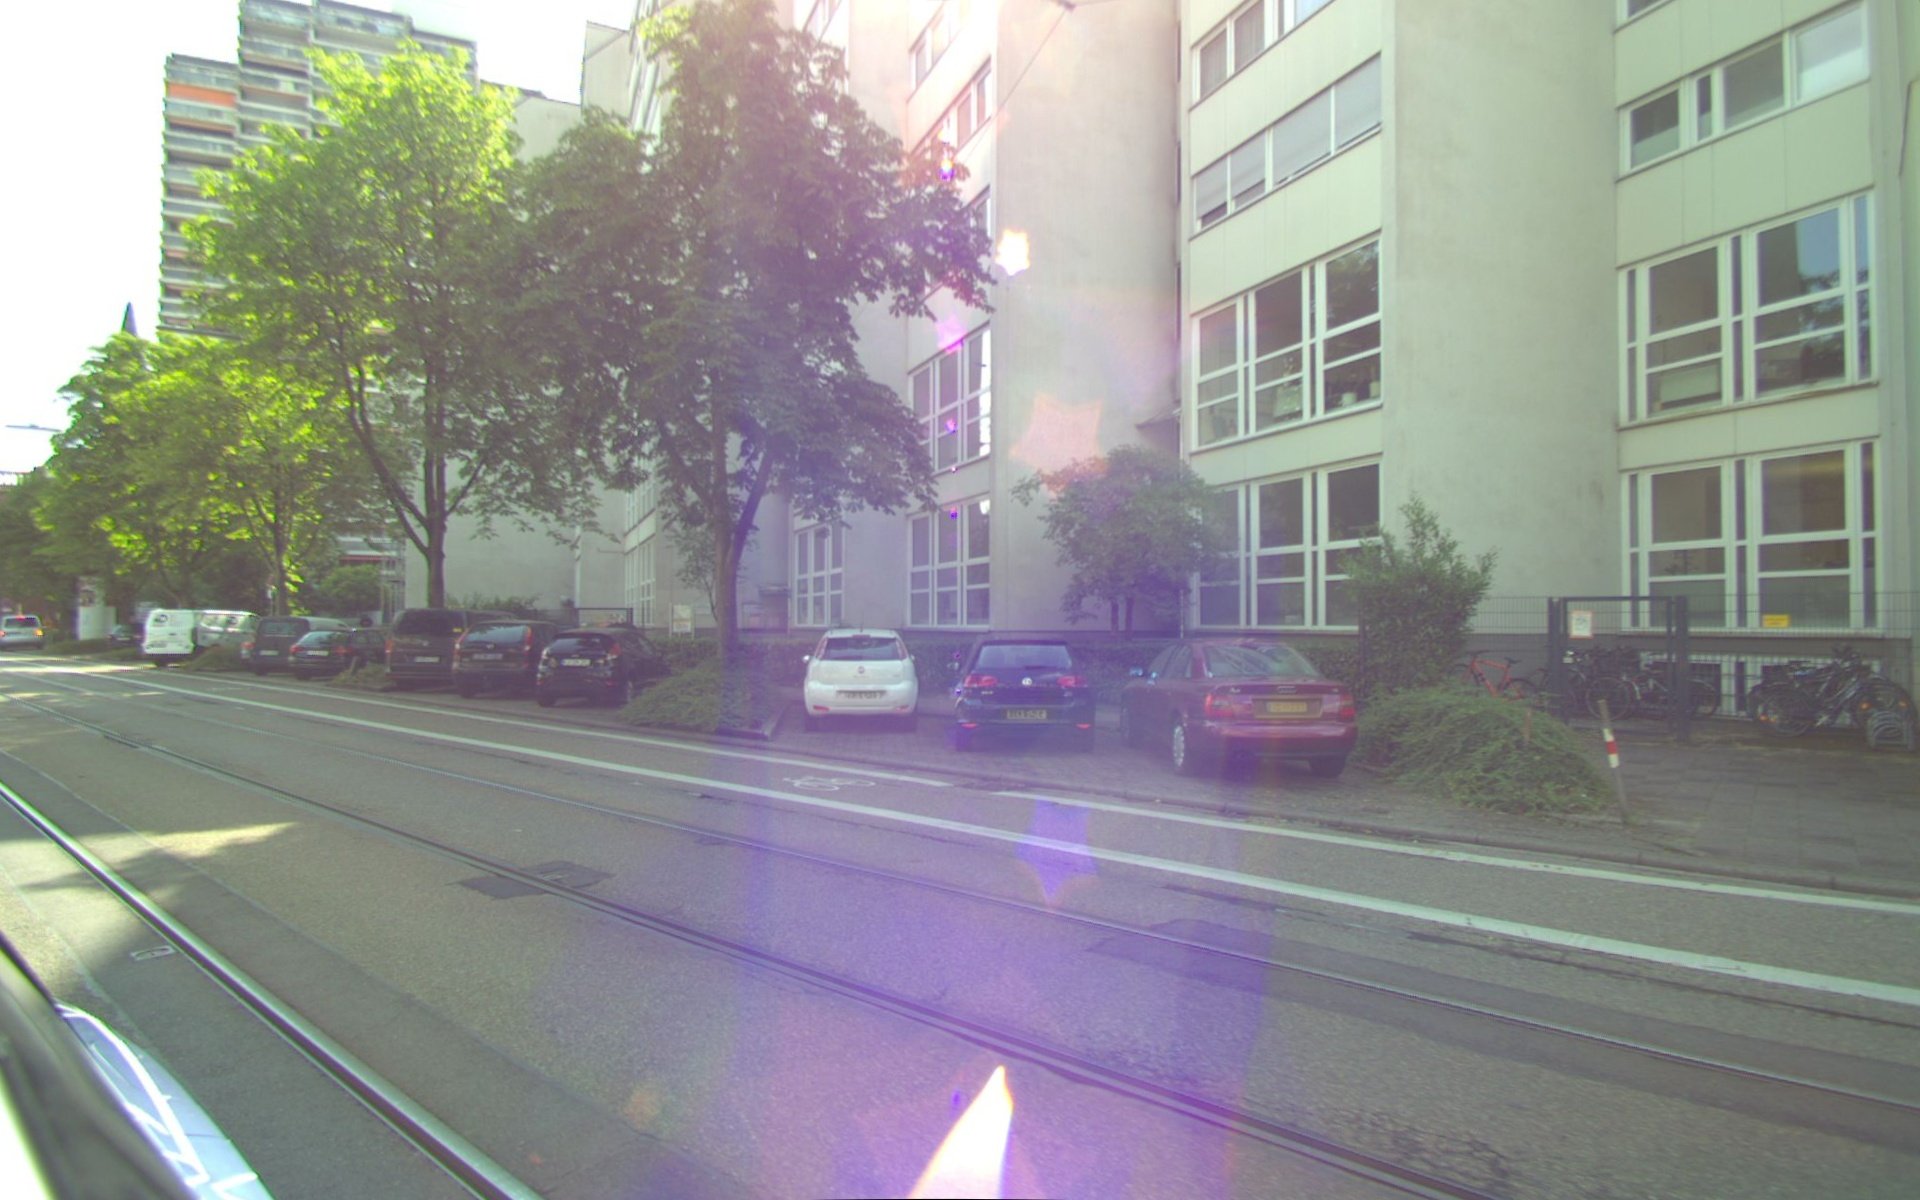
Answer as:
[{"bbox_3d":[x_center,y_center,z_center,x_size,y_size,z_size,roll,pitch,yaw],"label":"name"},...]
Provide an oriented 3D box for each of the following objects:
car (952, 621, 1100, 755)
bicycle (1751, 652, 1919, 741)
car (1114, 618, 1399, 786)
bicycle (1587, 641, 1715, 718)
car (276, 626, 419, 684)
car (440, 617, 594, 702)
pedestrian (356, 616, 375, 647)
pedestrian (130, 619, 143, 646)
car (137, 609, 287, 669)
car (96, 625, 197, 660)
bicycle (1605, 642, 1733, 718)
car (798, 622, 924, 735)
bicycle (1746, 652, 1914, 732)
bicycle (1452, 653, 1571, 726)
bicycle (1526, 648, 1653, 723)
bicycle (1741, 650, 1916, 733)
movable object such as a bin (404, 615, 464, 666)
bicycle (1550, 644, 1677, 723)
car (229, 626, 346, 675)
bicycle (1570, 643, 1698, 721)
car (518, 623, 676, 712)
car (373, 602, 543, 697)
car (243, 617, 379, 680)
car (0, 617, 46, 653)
[{"bbox_3d":[0.772,1.118,13.515,1.674,1.495,3.806,1,-3,1],"label":"car"},{"bbox_3d":[11.537,1.237,13.264,1.807,1.072,0.379,-2,-1,39],"label":"bicycle"},{"bbox_3d":[3.034,1.048,11.274,1.819,1.495,3.972,2,-3,-3],"label":"car"},{"bbox_3d":[11.424,1.282,16.806,0.377,1.154,1.816,-1,-1,-23],"label":"bicycle"},{"bbox_3d":[-16.640,1.506,27.734,1.733,1.428,4.005,2,-3,-6],"label":"car"},{"bbox_3d":[-9.326,1.275,21.665,1.715,1.605,4.003,2,-3,-4],"label":"car"},{"bbox_3d":[-31.529,1.670,53.696,0.660,1.636,0.635,0,-1,32],"label":"pedestrian"},{"bbox_3d":[-54.483,2.137,66.980,0.516,1.767,0.637,0,2,-26],"label":"pedestrian"},{"bbox_3d":[-26.596,1.365,36.219,1.940,2.012,4.687,0,-2,-2],"label":"car"},{"bbox_3d":[-36.600,1.886,45.672,1.715,1.535,3.890,0,-1,-6],"label":"car"},{"bbox_3d":[11.836,1.309,16.969,0.377,1.154,1.816,-1,-1,-23],"label":"bicycle"},{"bbox_3d":[-1.532,1.182,15.766,1.672,1.495,3.811,2,-3,-5],"label":"car"},{"bbox_3d":[12.589,1.308,14.706,1.807,1.072,0.379,-2,-1,39],"label":"bicycle"},{"bbox_3d":[8.422,1.348,15.536,0.377,0.986,1.722,-1,-1,-23],"label":"bicycle"},{"bbox_3d":[10.059,1.343,16.250,0.377,1.072,1.816,-1,-1,-23],"label":"bicycle"},{"bbox_3d":[12.065,1.249,14.130,1.807,1.072,0.379,-2,-1,39],"label":"bicycle"},{"bbox_3d":[-19.671,1.510,37.841,1.536,1.795,1.374,-1,-5,36],"label":"movable object such as a bin"},{"bbox_3d":[10.603,1.318,16.483,0.377,1.154,1.816,-1,-1,-23],"label":"bicycle"},{"bbox_3d":[-21.598,1.642,32.701,1.694,1.428,4.009,2,-3,-11],"label":"car"},{"bbox_3d":[11.020,1.311,16.623,0.377,1.154,1.816,-1,-1,-23],"label":"bicycle"},{"bbox_3d":[-6.866,1.289,19.613,1.716,1.495,4.001,2,-3,-2],"label":"car"},{"bbox_3d":[-11.770,1.196,24.192,1.887,1.969,5.174,2,-3,-6],"label":"car"},{"bbox_3d":[-19.120,1.456,30.036,1.734,1.706,3.717,2,-3,-3],"label":"car"},{"bbox_3d":[-53.423,1.963,57.293,4.232,1.865,1.869,-1,1,39],"label":"car"}]
